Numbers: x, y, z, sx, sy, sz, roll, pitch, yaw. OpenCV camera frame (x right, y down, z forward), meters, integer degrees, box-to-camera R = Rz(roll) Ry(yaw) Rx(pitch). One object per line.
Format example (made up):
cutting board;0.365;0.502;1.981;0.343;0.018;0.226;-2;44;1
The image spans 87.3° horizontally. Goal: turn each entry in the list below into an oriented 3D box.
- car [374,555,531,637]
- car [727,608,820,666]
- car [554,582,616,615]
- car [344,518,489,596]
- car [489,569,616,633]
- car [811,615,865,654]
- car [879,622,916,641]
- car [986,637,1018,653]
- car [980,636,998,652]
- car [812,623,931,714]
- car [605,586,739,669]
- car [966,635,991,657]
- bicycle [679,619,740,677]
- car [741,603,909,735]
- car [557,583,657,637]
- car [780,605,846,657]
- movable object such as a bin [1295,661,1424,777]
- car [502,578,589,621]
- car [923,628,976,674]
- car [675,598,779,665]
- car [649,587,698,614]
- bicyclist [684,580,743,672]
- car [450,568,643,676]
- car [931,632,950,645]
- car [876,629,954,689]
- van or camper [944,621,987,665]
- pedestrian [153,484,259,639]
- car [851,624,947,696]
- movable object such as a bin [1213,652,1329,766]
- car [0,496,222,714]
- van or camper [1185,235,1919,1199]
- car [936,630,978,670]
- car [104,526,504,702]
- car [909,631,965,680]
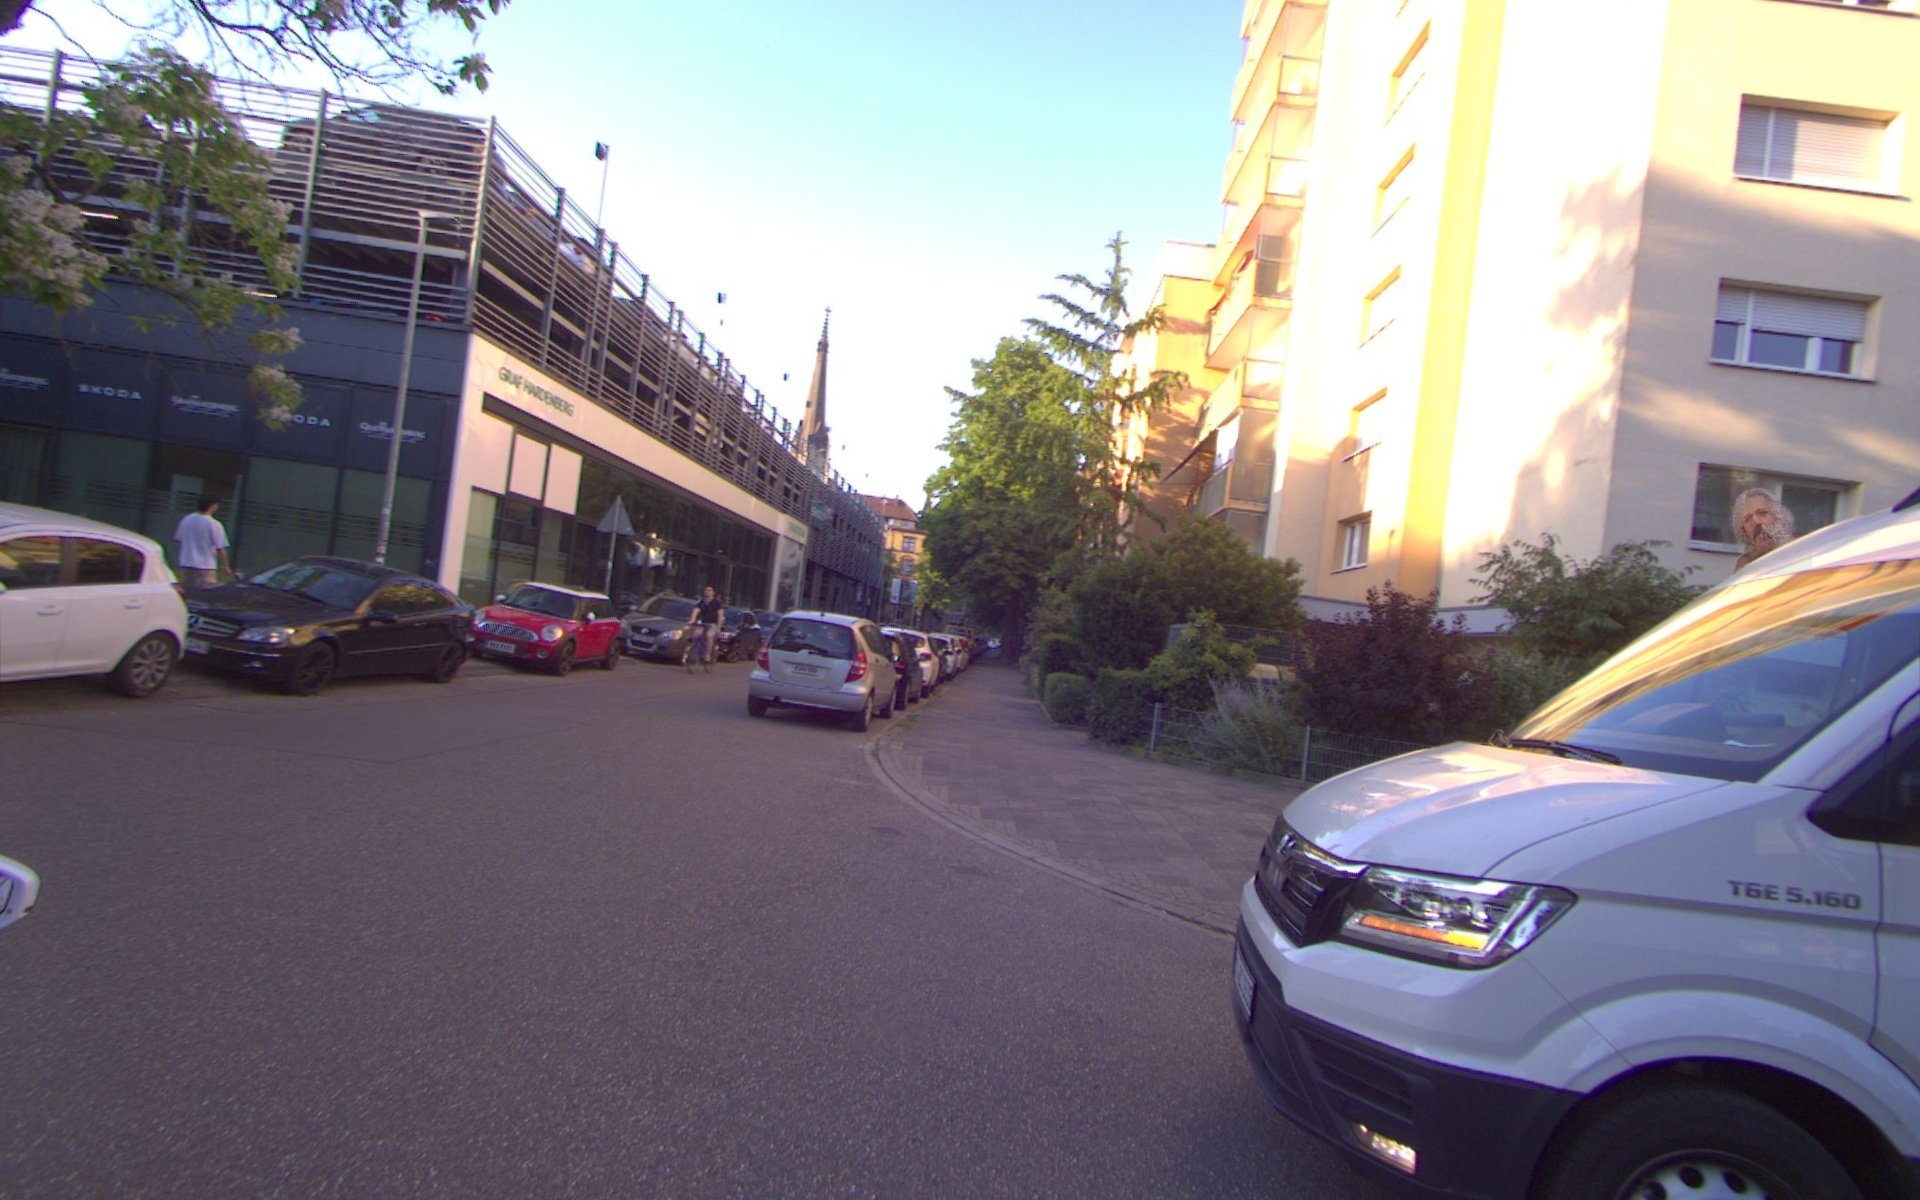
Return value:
car;-12.223;-0.034;24.516;1.568;1.669;3.879;7;-1;3
car;-6.197;1.226;33.977;1.907;1.616;4.207;7;-1;5
car;-17.282;-0.052;46.490;1.397;1.270;3.215;7;-1;3
car;-14.826;-1.126;27.691;1.671;1.678;3.740;7;-1;3
car;-11.767;0.086;29.367;1.671;1.532;4.195;7;-1;3
car;-5.546;1.564;46.071;1.671;1.524;3.793;7;-1;3
car;-7.461;3.756;120.688;4.067;1.637;1.913;9;0;1
car;5.428;5.848;130.207;3.948;1.484;1.858;9;-1;-44
car;3.296;4.996;114.427;1.669;1.494;3.561;7;-2;0
car;-1.657;1.302;20.152;1.690;1.436;4.030;7;-1;3
car;-6.783;0.670;24.123;1.637;1.513;3.888;12;-1;4
car;1.547;3.740;82.241;1.732;1.459;4.007;7;-1;3
bicycle;-5.313;1.009;21.443;0.747;1.110;1.865;5;-1;0
car;-1.945;0.999;15.692;1.781;1.594;3.887;7;-1;3
car;-11.965;0.385;34.337;1.671;1.532;3.996;7;-1;3
car;-5.834;1.241;40.413;1.671;1.777;4.406;7;-1;3
movable object such as a bin;6.093;1.791;15.459;1.165;1.488;1.582;7;0;-1
car;-16.974;0.013;41.418;1.671;1.451;3.922;7;-1;3
car;-0.386;2.024;40.944;1.764;1.581;4.196;7;-1;3
car;-6.570;0.898;28.783;1.703;1.418;4.008;12;-1;2
car;-15.997;0.046;56.288;1.397;1.270;3.528;7;-1;3
bicyclist;-5.257;0.560;21.498;0.845;1.830;1.016;6;0;-2
car;-7.277;0.399;18.172;1.638;1.426;3.928;12;-1;0
car;-3.065;6.102;159.662;1.637;1.448;3.877;8;-1;-21
car;-1.267;1.695;30.088;1.781;1.433;4.628;7;-1;3
van or camper;0.365;2.326;56.019;2.032;2.121;5.092;7;-1;2
pedestrian;-9.826;-0.482;13.125;0.709;1.901;0.620;7;0;4
car;-1.426;1.426;24.914;1.781;1.433;3.898;7;-1;3
movable object such as a bin;4.723;1.628;15.418;1.106;1.488;1.582;7;0;-1
car;-7.864;-0.046;7.594;1.638;1.531;3.883;10;-1;-3
van or camper;4.280;0.890;2.883;6.740;2.619;2.099;7;-2;10
car;-0.104;2.232;45.633;1.584;1.528;3.480;7;-1;3
car;-7.561;0.204;12.257;1.637;1.431;4.416;12;-1;2
car;-0.757;1.920;35.777;1.584;1.478;4.056;7;-1;3
